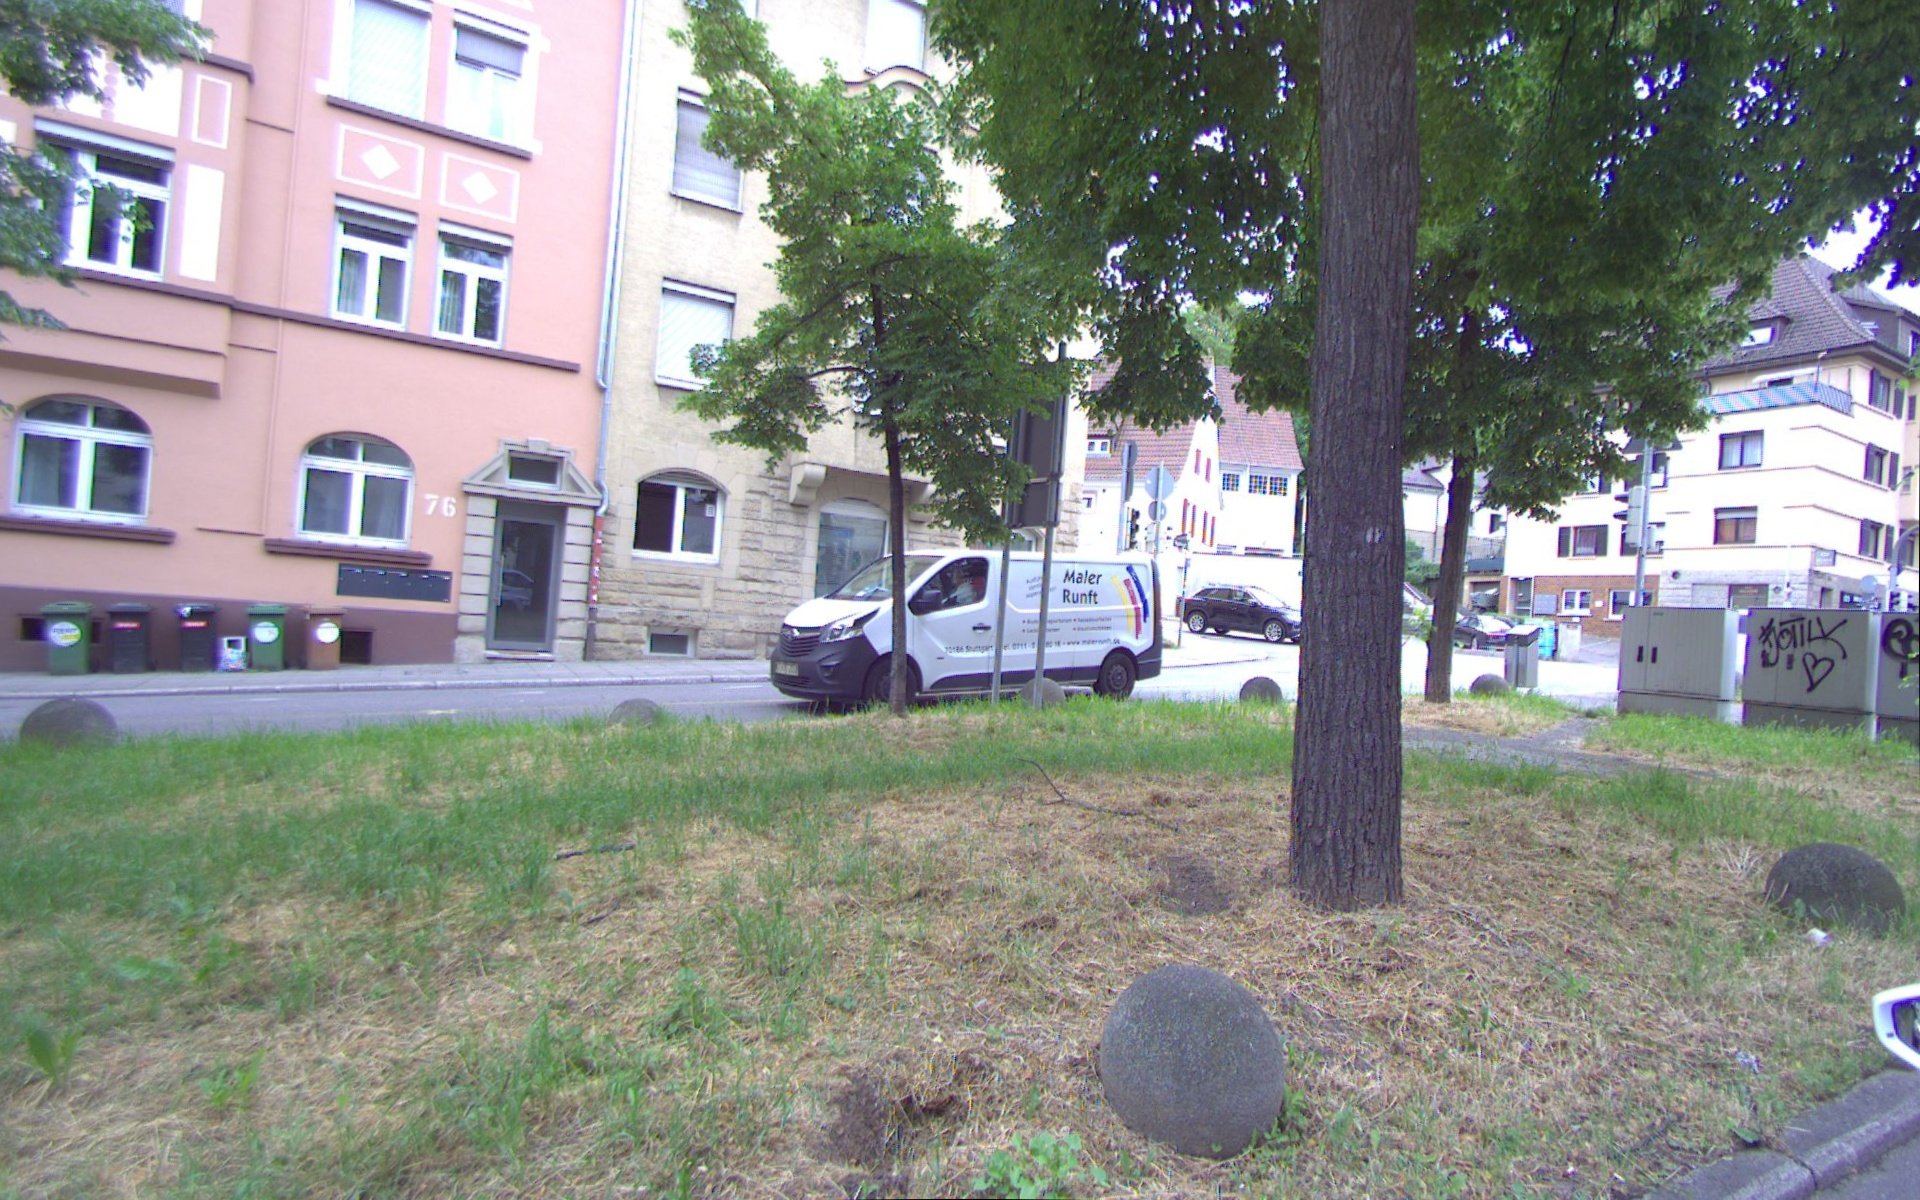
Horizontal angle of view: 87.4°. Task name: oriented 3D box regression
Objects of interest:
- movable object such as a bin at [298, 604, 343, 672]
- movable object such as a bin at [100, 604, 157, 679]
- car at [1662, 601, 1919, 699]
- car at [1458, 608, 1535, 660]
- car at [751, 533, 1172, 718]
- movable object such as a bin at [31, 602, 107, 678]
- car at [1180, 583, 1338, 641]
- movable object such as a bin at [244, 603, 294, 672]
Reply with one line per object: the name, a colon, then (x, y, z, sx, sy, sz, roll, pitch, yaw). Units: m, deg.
movable object such as a bin: (-9.274, 0.541, 14.568, 0.510, 0.934, 0.752, 2, 0, -34)
movable object such as a bin: (-11.135, 0.549, 13.458, 0.528, 0.958, 0.576, 2, 0, -36)
car: (16.825, 0.946, 20.102, 1.675, 1.615, 4.219, 3, 1, -37)
car: (21.894, 1.331, 41.146, 1.832, 1.619, 3.519, 2, 6, 13)
car: (0.151, 0.291, 13.025, 5.252, 1.971, 1.981, 1, 1, -34)
movable object such as a bin: (-11.646, 0.514, 13.148, 0.611, 0.961, 0.613, 2, 0, -31)
car: (8.919, 0.336, 30.169, 4.189, 1.541, 1.658, 3, 0, 42)
movable object such as a bin: (-9.791, 0.524, 14.252, 0.554, 0.934, 0.649, 2, 0, -34)
